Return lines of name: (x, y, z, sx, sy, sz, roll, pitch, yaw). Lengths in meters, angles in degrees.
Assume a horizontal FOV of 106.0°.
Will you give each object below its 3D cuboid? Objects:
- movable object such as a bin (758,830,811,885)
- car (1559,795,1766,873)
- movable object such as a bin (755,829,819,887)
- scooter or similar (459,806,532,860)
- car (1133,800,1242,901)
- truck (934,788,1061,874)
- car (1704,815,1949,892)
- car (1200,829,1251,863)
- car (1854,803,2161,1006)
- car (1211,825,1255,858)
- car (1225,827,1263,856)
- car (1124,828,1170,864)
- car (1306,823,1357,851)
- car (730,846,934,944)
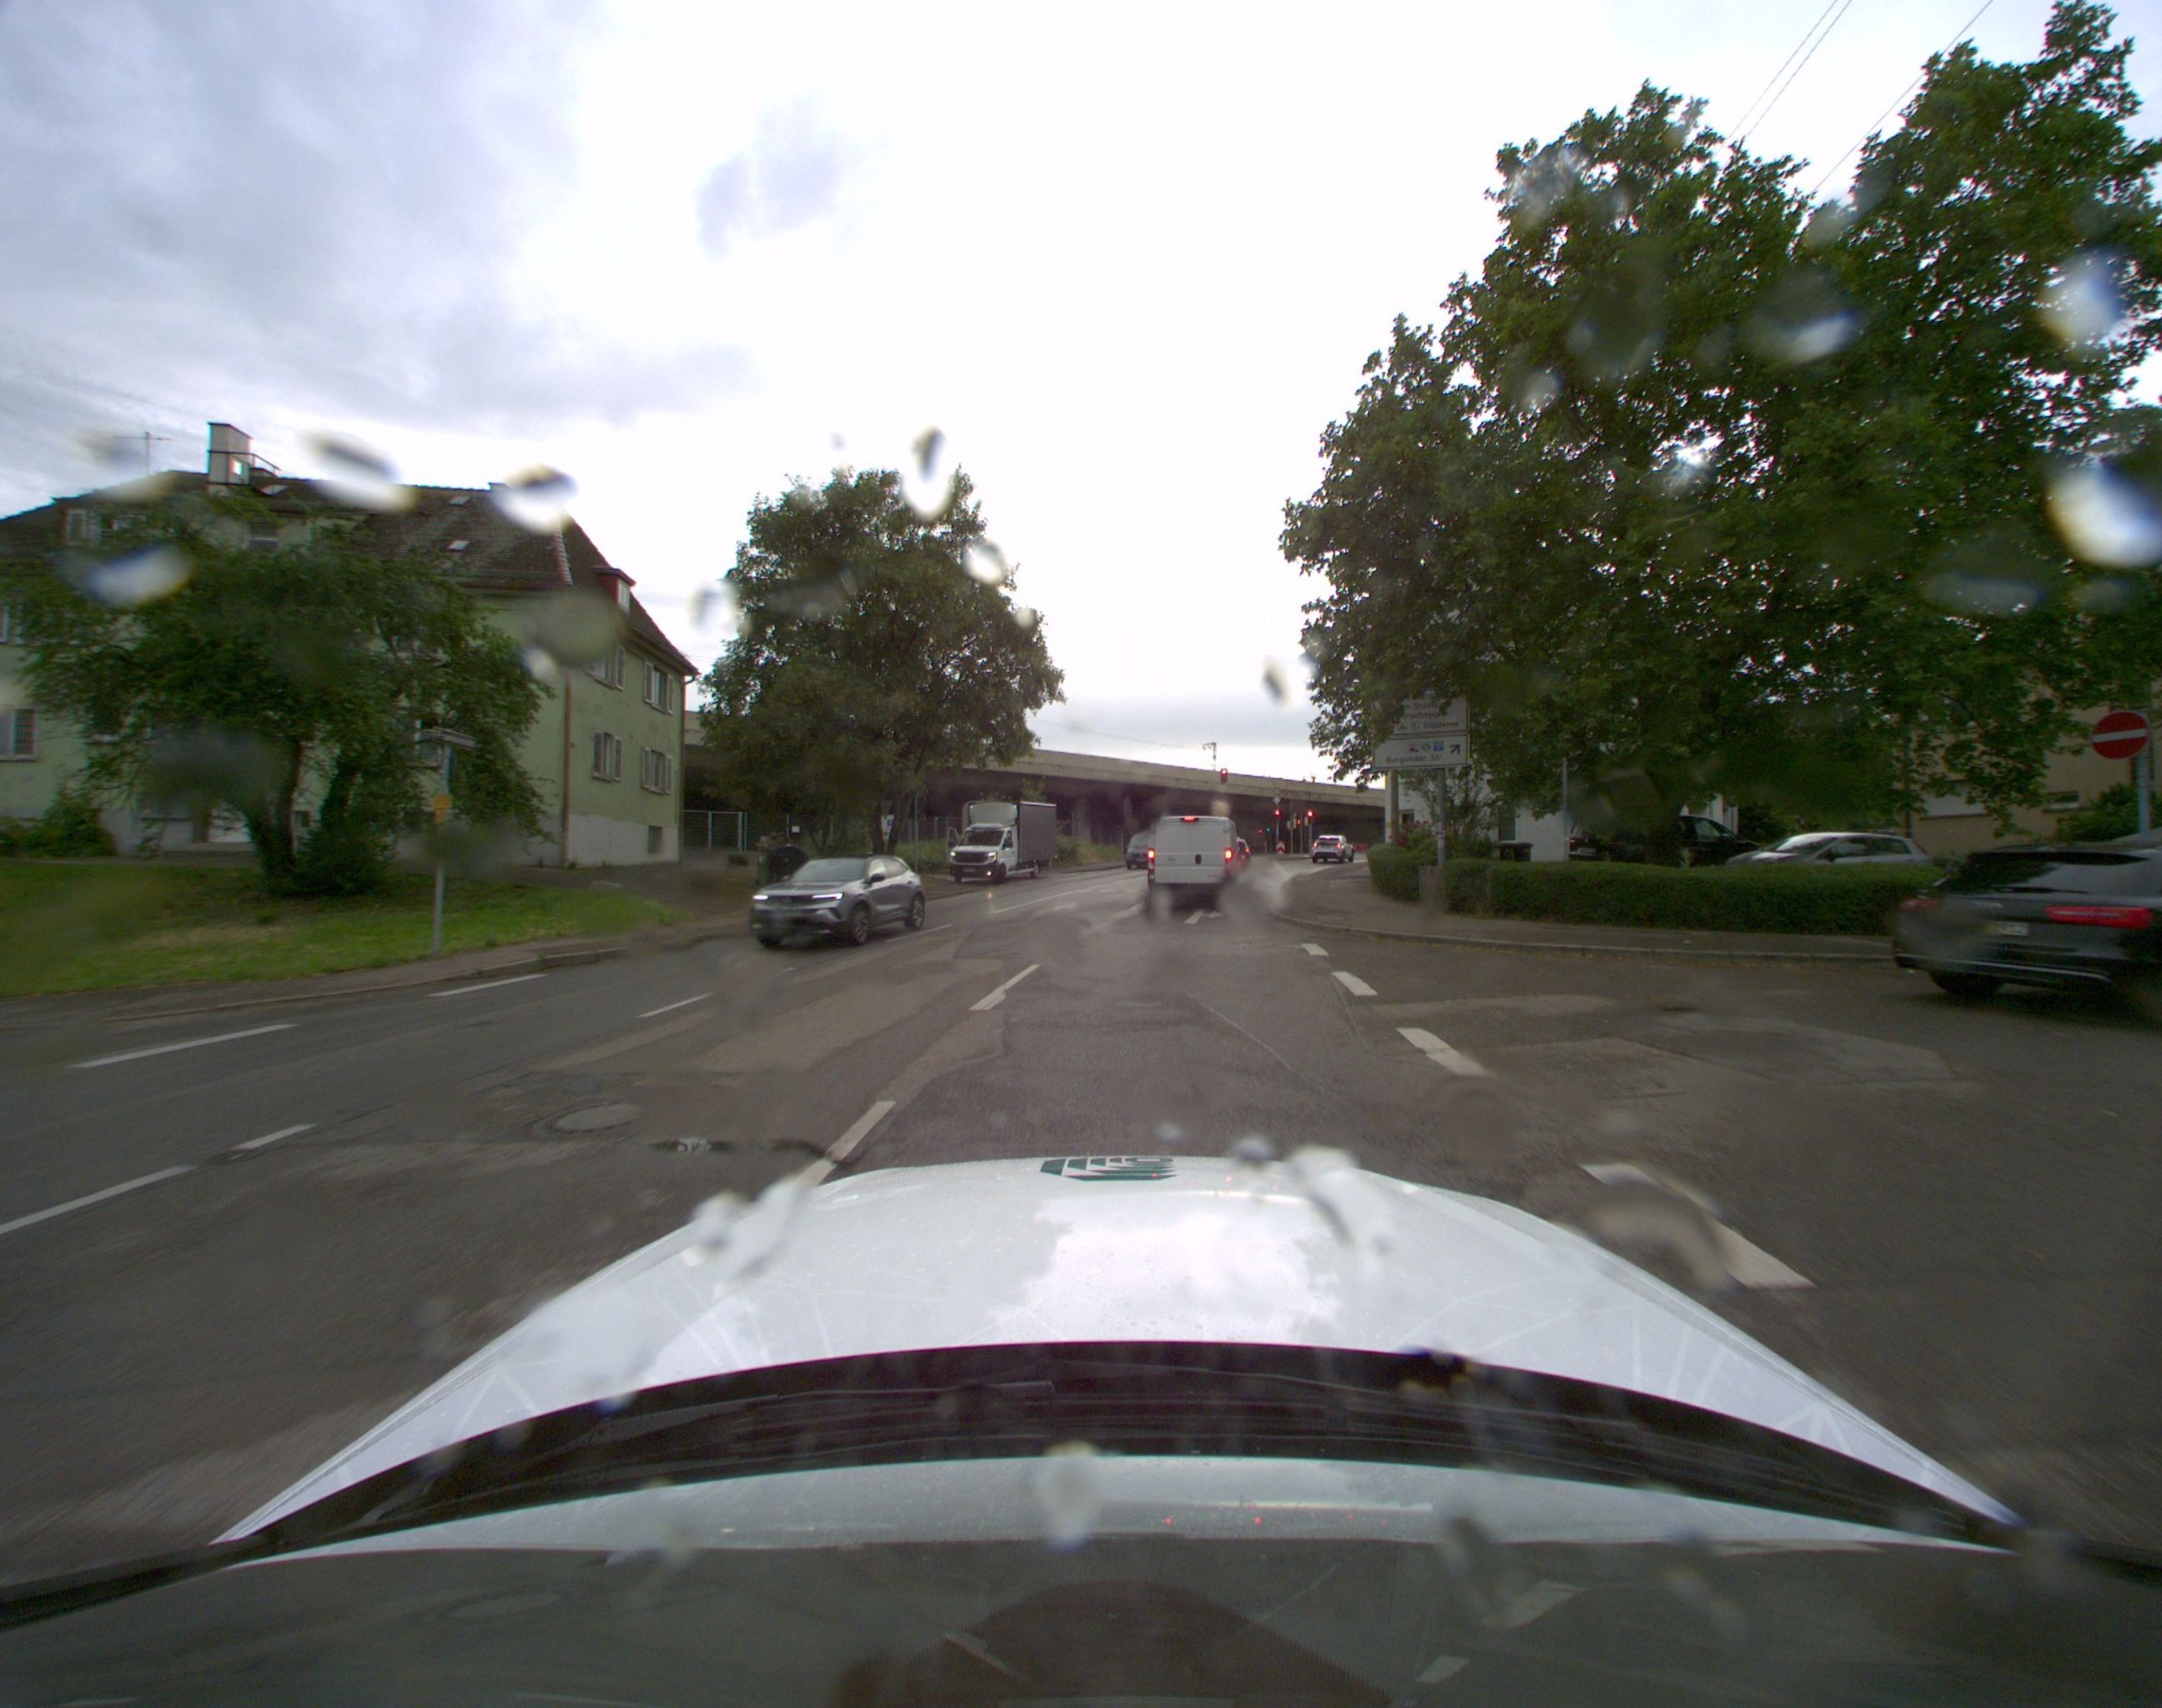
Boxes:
movable object such as a bin: (-8.752, 0.084, 23.982, 1.105, 1.437, 1.448, 2, 5, -33)
car: (15.702, -0.542, 22.108, 4.396, 1.932, 1.995, -1, 1, -7)
movable object such as a bin: (-8.182, 0.099, 22.630, 1.299, 1.437, 1.448, 2, 5, -33)
scooter or similar: (-14.841, -0.524, 20.650, 1.512, 1.273, 0.531, 4, 1, 8)
car: (2.999, -0.167, 21.722, 2.288, 2.343, 5.303, 0, 2, 14)
truck: (-3.269, -0.942, 34.585, 2.590, 3.236, 7.810, 0, 1, 16)
car: (16.846, -0.028, 18.541, 3.976, 1.580, 1.822, -1, 1, -2)
car: (6.792, -0.378, 37.917, 1.979, 1.513, 4.016, 0, 1, 15)
car: (9.922, 0.281, 7.333, 4.804, 1.480, 1.879, -2, 1, -11)
car: (8.559, -0.697, 45.514, 1.978, 1.728, 4.018, 0, 1, 17)
car: (10.359, -0.775, 51.606, 1.978, 1.728, 4.018, 0, 1, 17)
car: (3.776, -0.474, 45.704, 1.944, 1.931, 4.700, -1, 1, 12)
car: (14.492, -0.946, 46.968, 1.975, 1.549, 4.025, 0, 1, 29)
car: (-4.273, 0.630, 14.718, 1.883, 1.461, 4.011, -1, 1, 10)
